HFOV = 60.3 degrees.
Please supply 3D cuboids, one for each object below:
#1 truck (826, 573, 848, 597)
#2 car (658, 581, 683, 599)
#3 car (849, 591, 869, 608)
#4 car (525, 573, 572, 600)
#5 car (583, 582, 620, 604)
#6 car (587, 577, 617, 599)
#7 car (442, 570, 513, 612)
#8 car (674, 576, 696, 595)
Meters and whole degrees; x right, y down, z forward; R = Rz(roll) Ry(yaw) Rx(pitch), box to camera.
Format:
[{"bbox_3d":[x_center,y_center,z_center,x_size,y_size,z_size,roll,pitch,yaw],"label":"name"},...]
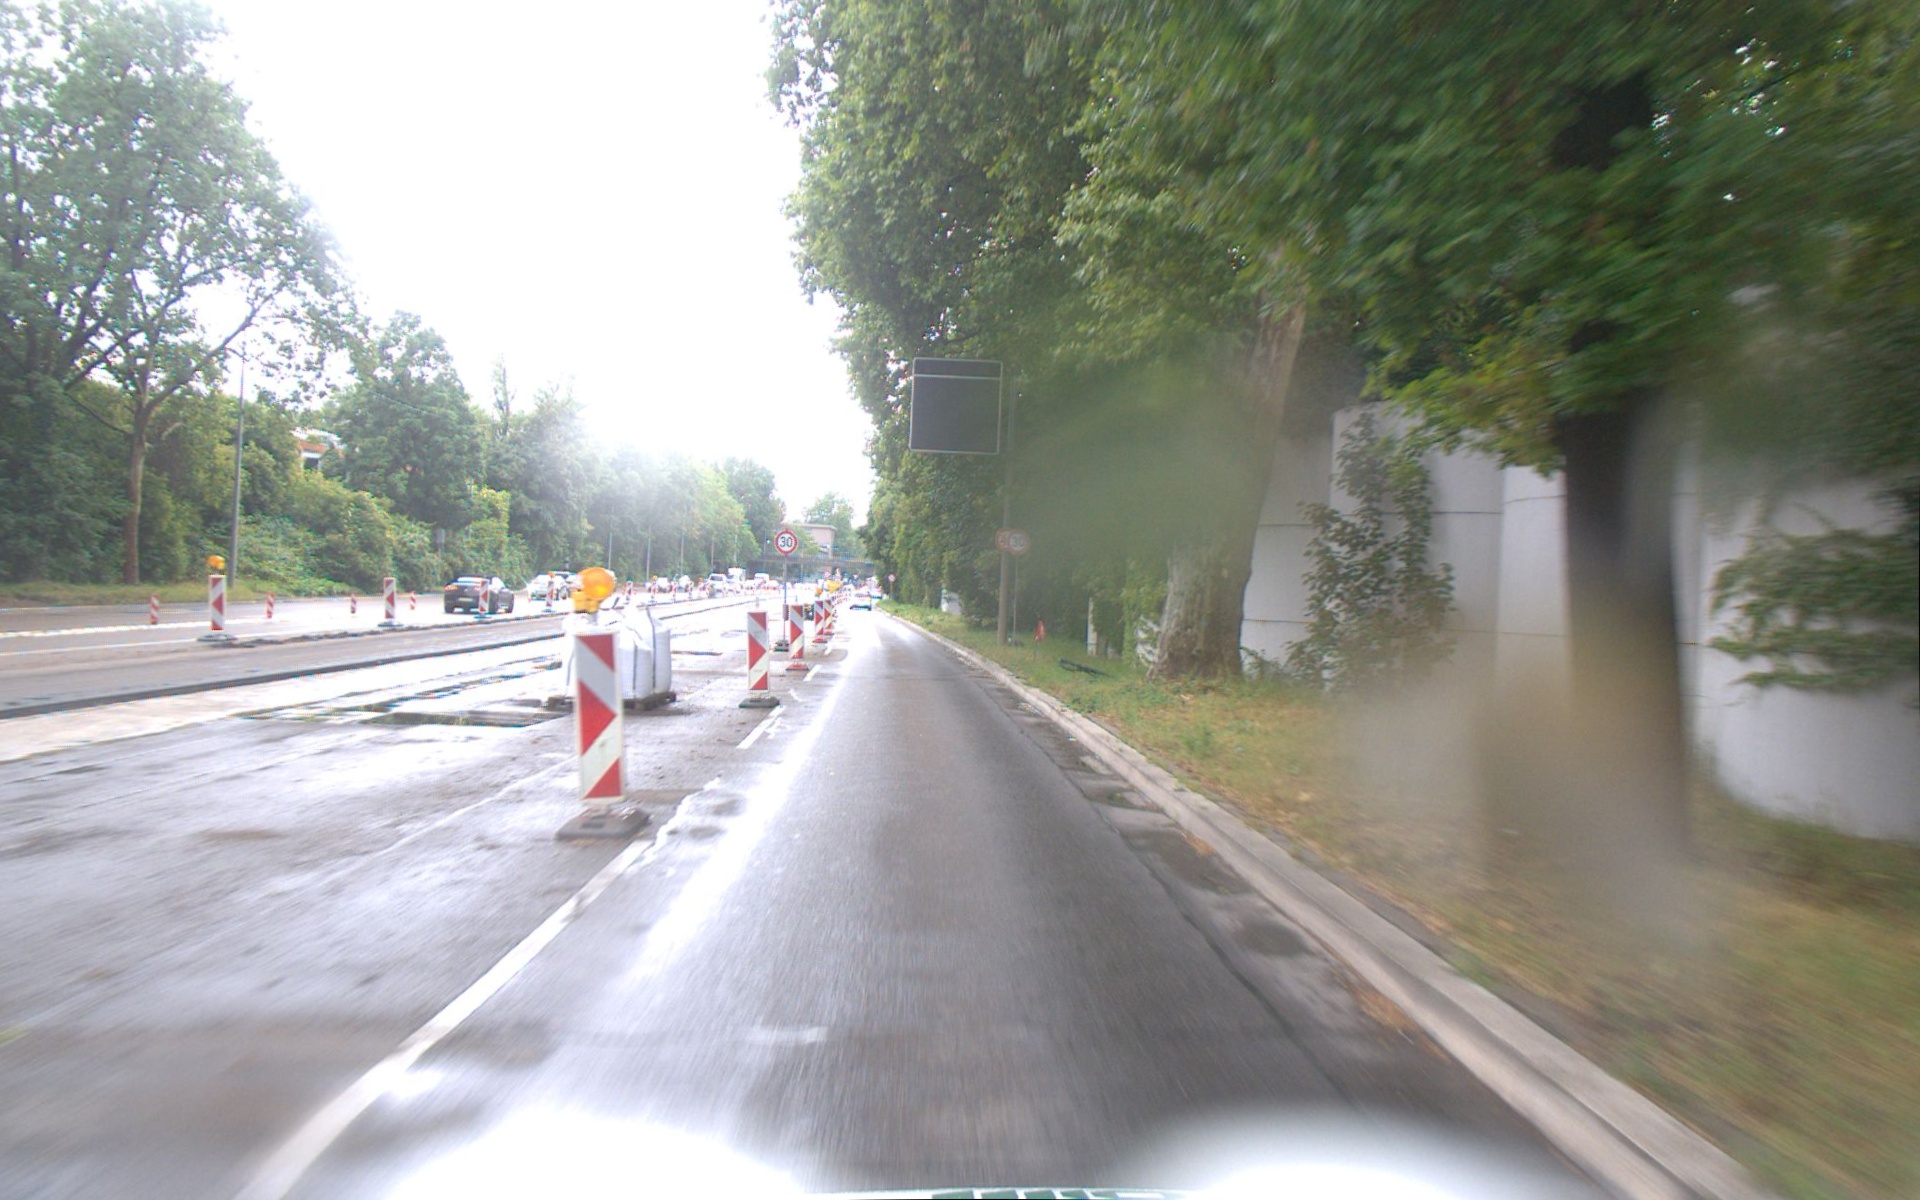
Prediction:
[{"bbox_3d":[-19.310,-2.371,260.645,3.195,3.558,13.859,3,0,-4],"label":"truck"},{"bbox_3d":[-26.023,-0.898,148.959,1.726,1.509,4.895,2,0,-5],"label":"car"},{"bbox_3d":[-8.224,-0.062,134.552,1.664,1.359,3.488,1,0,-4],"label":"car"},{"bbox_3d":[-22.737,-0.750,91.472,1.782,1.379,4.386,1,0,-4],"label":"car"},{"bbox_3d":[-23.382,-0.462,108.030,1.782,1.379,4.201,1,0,-4],"label":"car"},{"bbox_3d":[-28.890,-0.983,133.548,1.620,1.714,4.529,3,0,-4],"label":"car"},{"bbox_3d":[-17.640,-0.333,60.618,1.576,1.429,4.038,3,0,-4],"label":"car"},{"bbox_3d":[-28.005,-1.470,168.400,1.701,1.752,4.489,3,0,-5],"label":"car"}]
